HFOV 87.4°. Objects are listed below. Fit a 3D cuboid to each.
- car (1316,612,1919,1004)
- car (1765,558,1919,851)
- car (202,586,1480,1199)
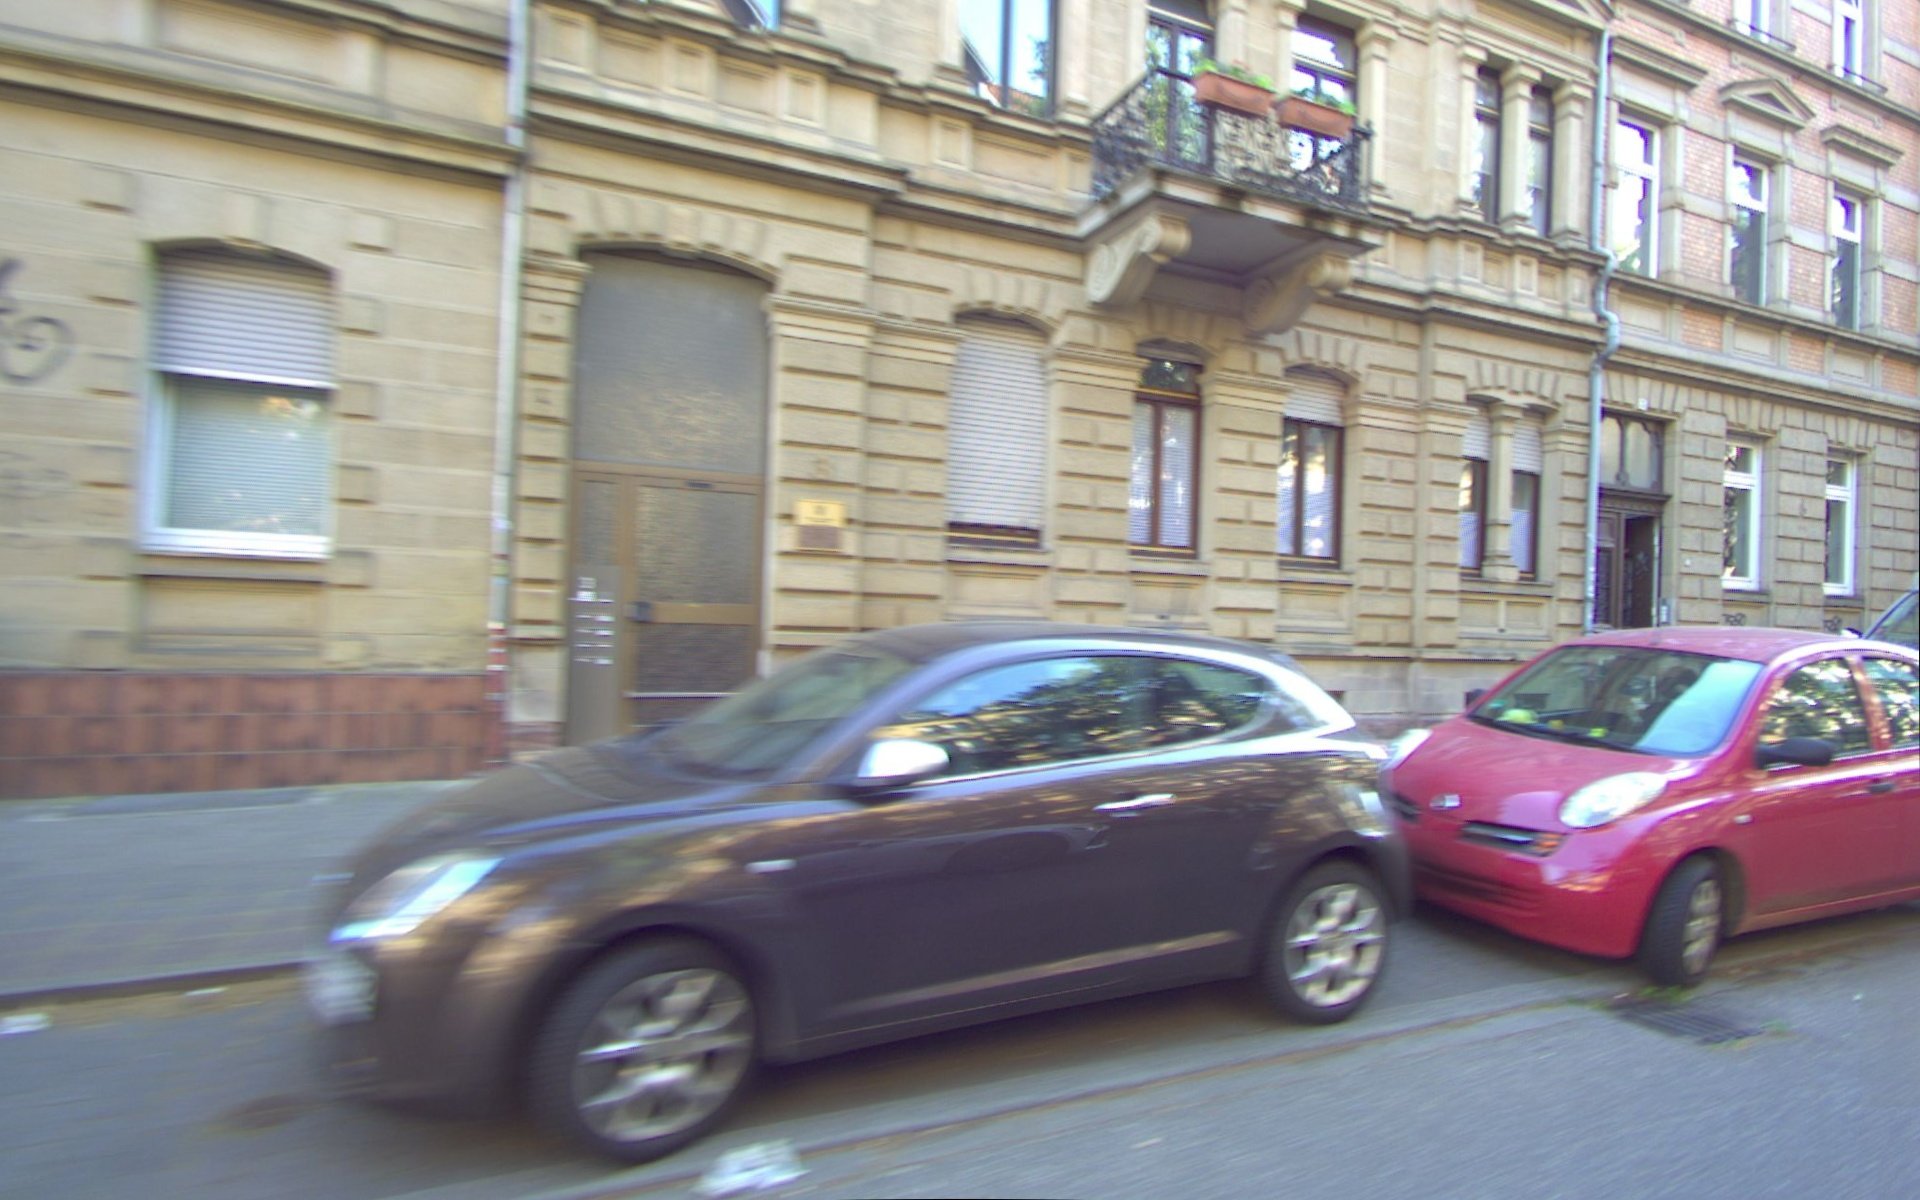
[{"bbox_3d":[3.928,0.874,5.370,3.645,1.495,1.589,1,1,-22],"label":"car"},{"bbox_3d":[8.837,0.761,7.782,5.186,1.969,1.827,1,1,-24],"label":"car"},{"bbox_3d":[-0.191,0.776,3.855,4.003,1.521,1.754,2,1,-24],"label":"car"}]
